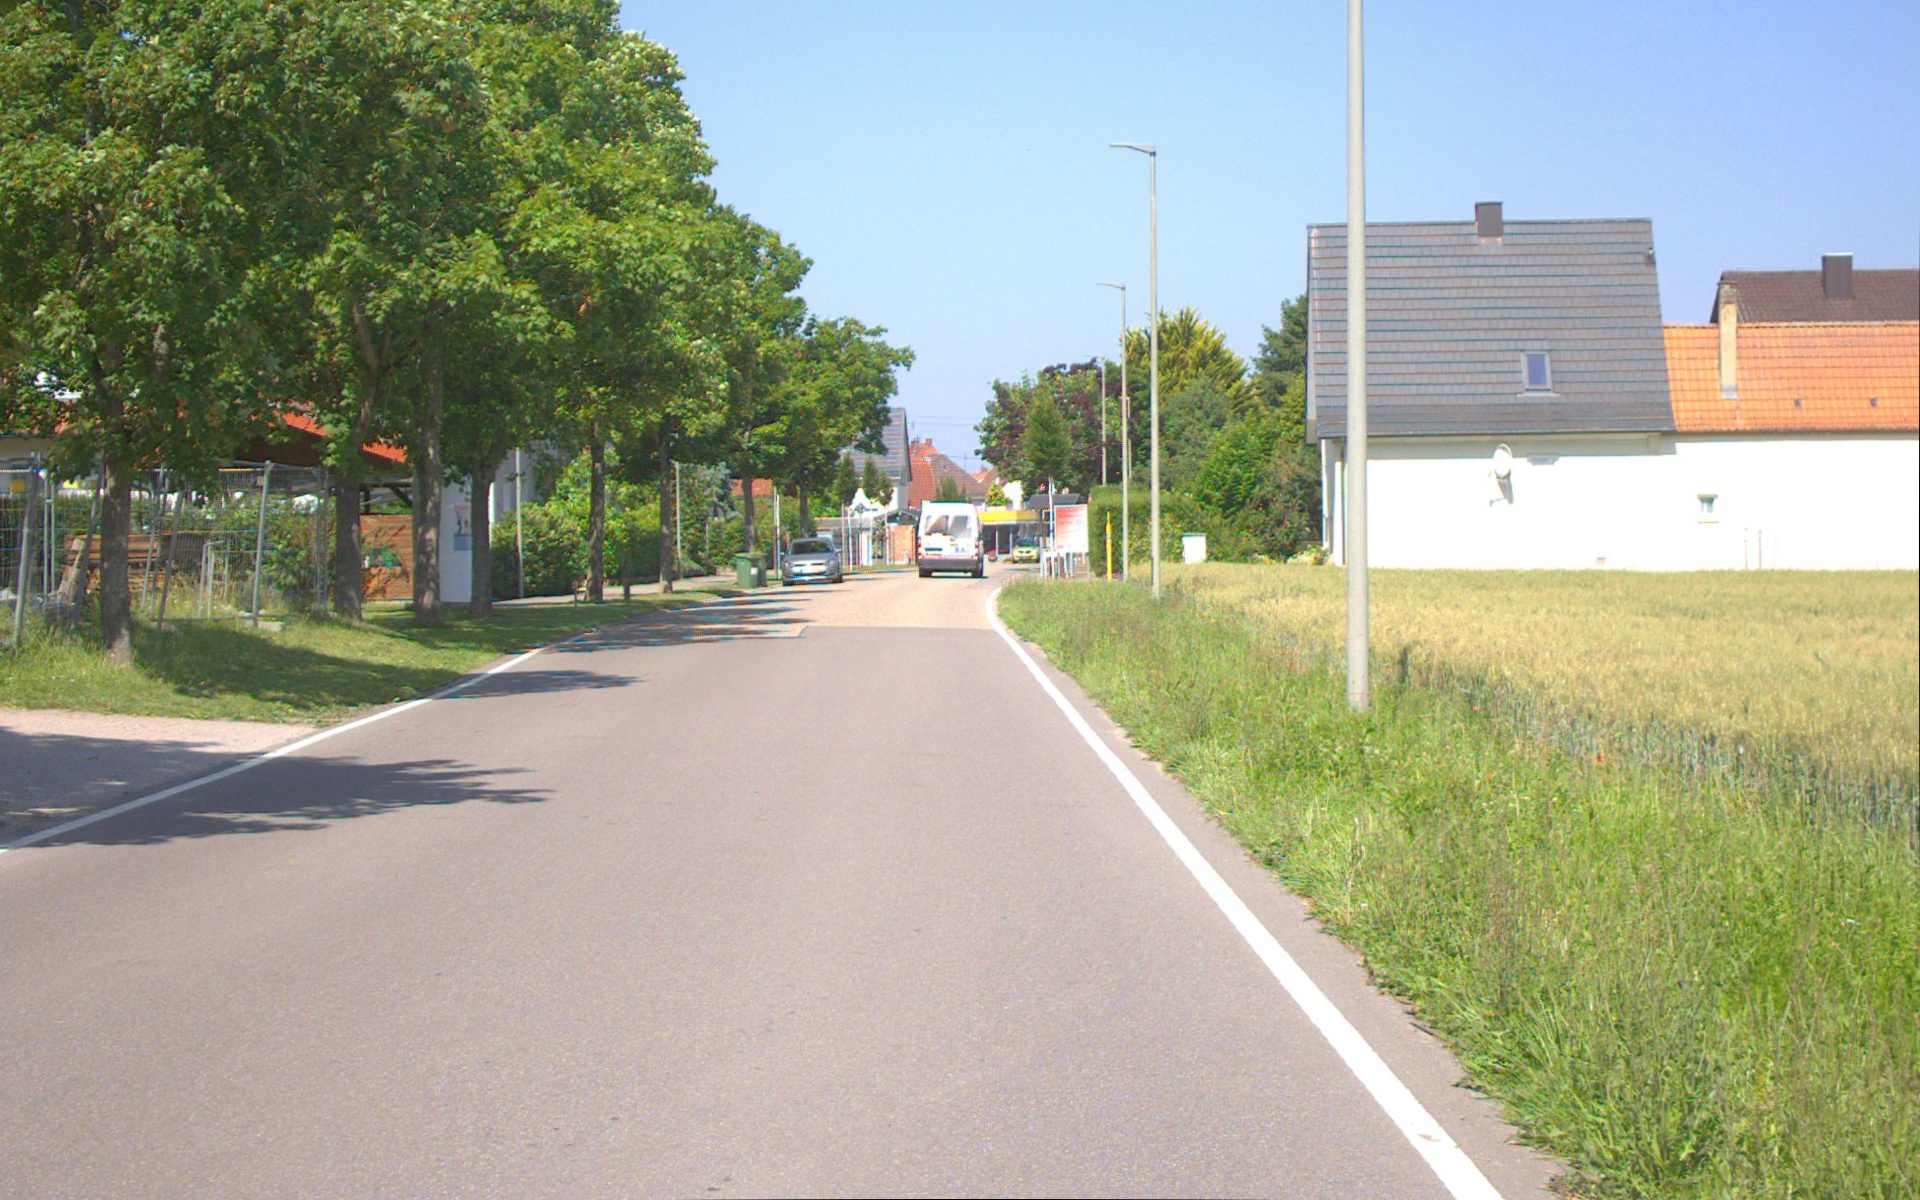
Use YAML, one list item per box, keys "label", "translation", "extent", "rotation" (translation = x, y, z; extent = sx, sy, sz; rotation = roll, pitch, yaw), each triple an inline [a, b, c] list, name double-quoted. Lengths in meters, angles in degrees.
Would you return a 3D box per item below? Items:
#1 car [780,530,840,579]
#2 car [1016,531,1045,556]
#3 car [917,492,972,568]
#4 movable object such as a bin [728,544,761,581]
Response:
- label: "car"
  translation: [-4.645, -1.425, 106.763]
  extent: [1.647, 1.419, 4.080]
  rotation: [-3, 1, 0]
- label: "car"
  translation: [4.548, -3.654, 221.966]
  extent: [1.666, 1.519, 3.443]
  rotation: [-2, 1, -1]
- label: "car"
  translation: [-0.526, -2.326, 114.468]
  extent: [1.737, 2.424, 4.374]
  rotation: [-1, 1, -1]
- label: "movable object such as a bin"
  translation: [-6.353, -1.094, 101.328]
  extent: [0.714, 1.075, 0.639]
  rotation: [-1, 1, 27]
